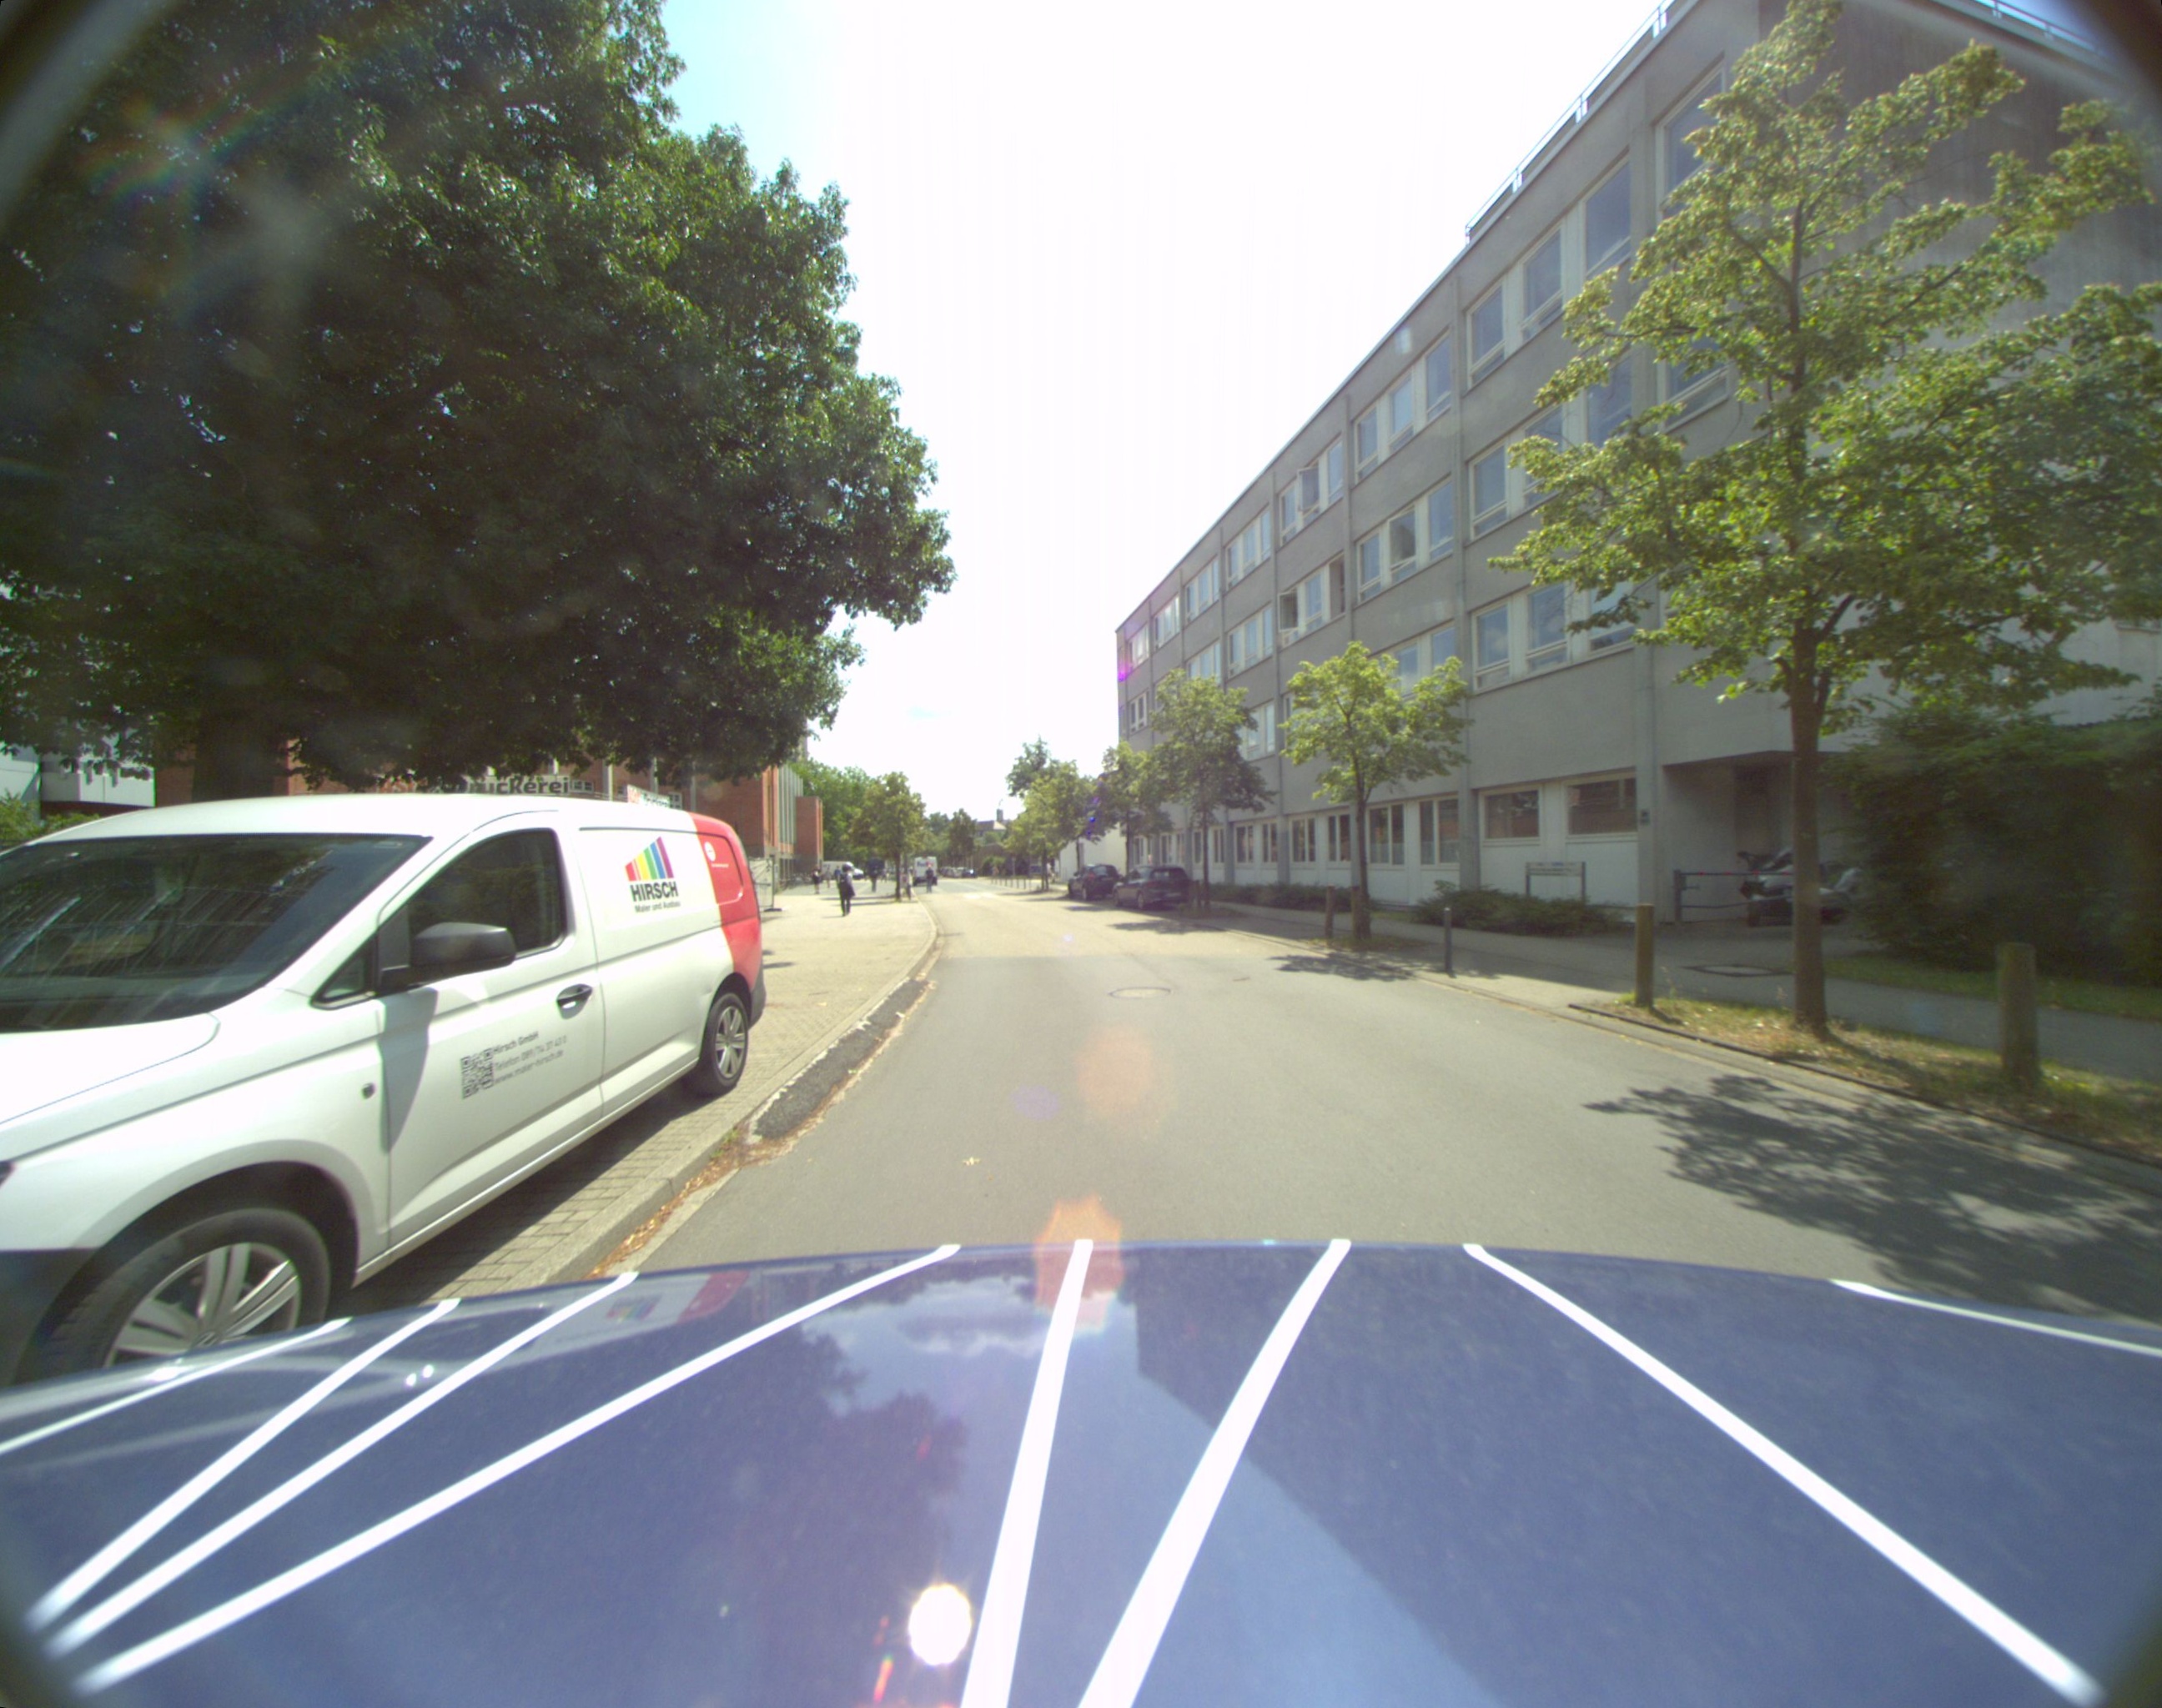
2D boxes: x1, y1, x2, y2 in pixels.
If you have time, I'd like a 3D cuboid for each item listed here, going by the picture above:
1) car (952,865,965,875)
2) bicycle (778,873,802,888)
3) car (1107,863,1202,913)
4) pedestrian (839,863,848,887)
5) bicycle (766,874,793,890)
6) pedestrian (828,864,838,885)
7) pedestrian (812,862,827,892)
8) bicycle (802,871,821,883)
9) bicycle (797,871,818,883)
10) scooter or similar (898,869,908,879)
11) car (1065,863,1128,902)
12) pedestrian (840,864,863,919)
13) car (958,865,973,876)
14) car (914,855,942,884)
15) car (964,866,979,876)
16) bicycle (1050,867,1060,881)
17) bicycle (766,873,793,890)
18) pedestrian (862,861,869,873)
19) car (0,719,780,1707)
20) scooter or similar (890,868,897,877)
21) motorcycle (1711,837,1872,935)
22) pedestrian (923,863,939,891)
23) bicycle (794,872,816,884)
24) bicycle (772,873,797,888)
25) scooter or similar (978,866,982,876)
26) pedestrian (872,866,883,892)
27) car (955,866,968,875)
[{"bbox_3d":[-19.247,2.491,119.324,1.720,1.424,3.996,-1,0,-13],"label":"car"},{"bbox_3d":[-22.959,2.071,60.019,1.689,1.103,0.435,-1,0,-15],"label":"bicycle"},{"bbox_3d":[2.369,1.093,25.830,1.784,1.452,4.254,-3,0,-15],"label":"car"},{"bbox_3d":[-19.469,1.708,62.308,0.666,1.879,1.108,-1,1,-16],"label":"pedestrian"},{"bbox_3d":[-22.266,2.041,56.157,1.760,1.143,0.517,-1,0,-15],"label":"bicycle"},{"bbox_3d":[-20.316,1.673,62.188,0.586,1.697,1.001,-1,1,-10],"label":"pedestrian"},{"bbox_3d":[-16.558,1.456,48.158,0.847,1.823,1.195,-1,0,-18],"label":"pedestrian"},{"bbox_3d":[-26.494,2.263,74.701,1.701,1.103,0.435,-1,0,-15],"label":"bicycle"},{"bbox_3d":[-26.016,2.214,72.347,1.803,1.103,0.435,-1,0,-15],"label":"bicycle"},{"bbox_3d":[-22.713,2.506,96.836,1.141,1.236,0.577,-1,-1,21],"label":"scooter or similar"},{"bbox_3d":[0.615,1.206,33.751,1.703,1.555,4.063,-1,0,-15],"label":"car"},{"bbox_3d":[-7.561,1.231,25.033,0.697,1.770,0.786,-1,0,-17],"label":"pedestrian"},{"bbox_3d":[-16.107,2.258,105.686,1.637,1.422,3.629,-1,0,-14],"label":"car"},{"bbox_3d":[-13.967,1.392,69.284,2.067,2.528,5.842,-1,0,-15],"label":"car"},{"bbox_3d":[-14.342,2.197,99.358,1.703,1.287,3.758,-1,-1,-13],"label":"car"},{"bbox_3d":[-2.017,1.562,58.630,0.545,1.055,1.898,-1,0,-8],"label":"bicycle"},{"bbox_3d":[-21.953,1.998,55.280,1.760,1.143,0.435,-1,0,-15],"label":"bicycle"},{"bbox_3d":[-31.747,1.892,111.806,0.786,1.666,1.077,-1,1,-24],"label":"pedestrian"},{"bbox_3d":[-3.020,0.714,3.103,1.853,1.880,4.889,-1,0,-3],"label":"car"},{"bbox_3d":[-24.208,2.405,98.008,0.576,1.172,1.478,-1,-1,0],"label":"scooter or similar"},{"bbox_3d":[12.216,0.518,13.085,2.103,1.541,1.081,-1,0,-16],"label":"motorcycle"},{"bbox_3d":[-9.972,1.533,50.516,0.826,1.807,1.142,-1,0,-18],"label":"pedestrian"},{"bbox_3d":[-25.624,2.203,70.579,1.918,1.103,0.435,-1,0,-15],"label":"bicycle"},{"bbox_3d":[-22.825,2.005,58.531,1.754,1.103,0.435,-1,0,-15],"label":"bicycle"},{"bbox_3d":[-12.776,2.151,95.864,0.471,1.209,1.204,-1,0,-8],"label":"scooter or similar"},{"bbox_3d":[-13.794,1.692,51.485,0.644,1.687,0.791,-1,0,-13],"label":"pedestrian"},{"bbox_3d":[-17.491,2.392,111.310,1.650,1.368,3.996,-1,0,-13],"label":"car"}]
